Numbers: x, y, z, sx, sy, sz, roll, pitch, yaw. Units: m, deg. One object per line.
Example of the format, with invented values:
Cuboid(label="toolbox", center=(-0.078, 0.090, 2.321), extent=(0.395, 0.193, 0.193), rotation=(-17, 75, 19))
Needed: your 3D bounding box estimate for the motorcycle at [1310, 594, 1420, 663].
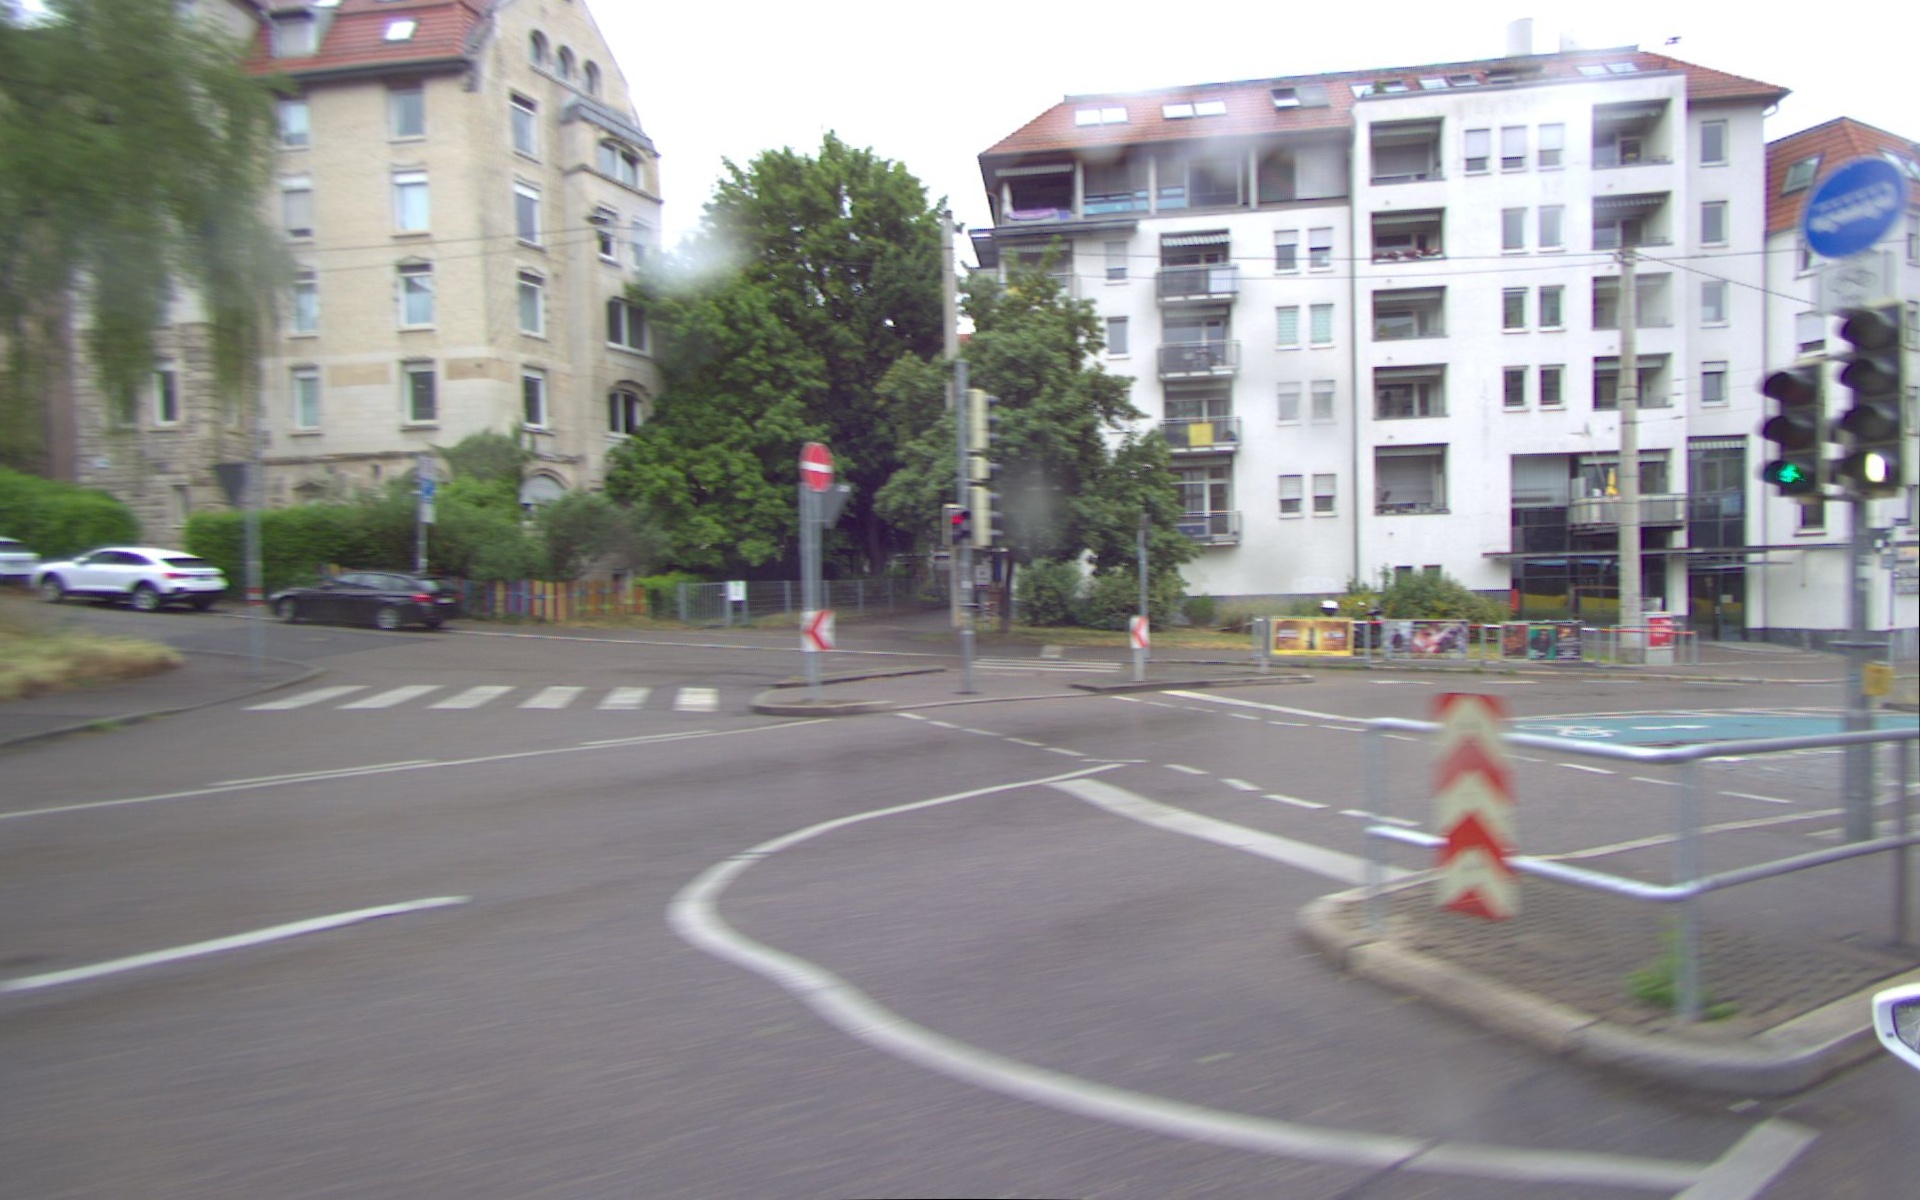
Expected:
Cuboid(label="motorcycle", center=(10.135, 0.702, 25.177), extent=(2.393, 1.572, 0.699), rotation=(2, 4, -1))

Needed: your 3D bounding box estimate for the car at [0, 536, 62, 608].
Cuboid(label="car", center=(-27.266, -0.785, 27.292), extent=(4.198, 1.859, 1.807), rotation=(2, -1, 4))

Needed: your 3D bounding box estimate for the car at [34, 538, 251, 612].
Cuboid(label="car", center=(-21.742, -0.651, 26.814), extent=(4.268, 1.614, 2.001), rotation=(4, 0, 7))

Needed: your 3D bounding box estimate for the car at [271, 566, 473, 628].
Cuboid(label="car", center=(-14.965, -0.073, 25.643), extent=(4.268, 1.239, 1.754), rotation=(4, 0, 10))

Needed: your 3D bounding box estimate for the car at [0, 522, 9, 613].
Cuboid(label="car", center=(-23.414, -0.774, 21.831), extent=(3.919, 2.040, 2.001), rotation=(1, 0, 9))
